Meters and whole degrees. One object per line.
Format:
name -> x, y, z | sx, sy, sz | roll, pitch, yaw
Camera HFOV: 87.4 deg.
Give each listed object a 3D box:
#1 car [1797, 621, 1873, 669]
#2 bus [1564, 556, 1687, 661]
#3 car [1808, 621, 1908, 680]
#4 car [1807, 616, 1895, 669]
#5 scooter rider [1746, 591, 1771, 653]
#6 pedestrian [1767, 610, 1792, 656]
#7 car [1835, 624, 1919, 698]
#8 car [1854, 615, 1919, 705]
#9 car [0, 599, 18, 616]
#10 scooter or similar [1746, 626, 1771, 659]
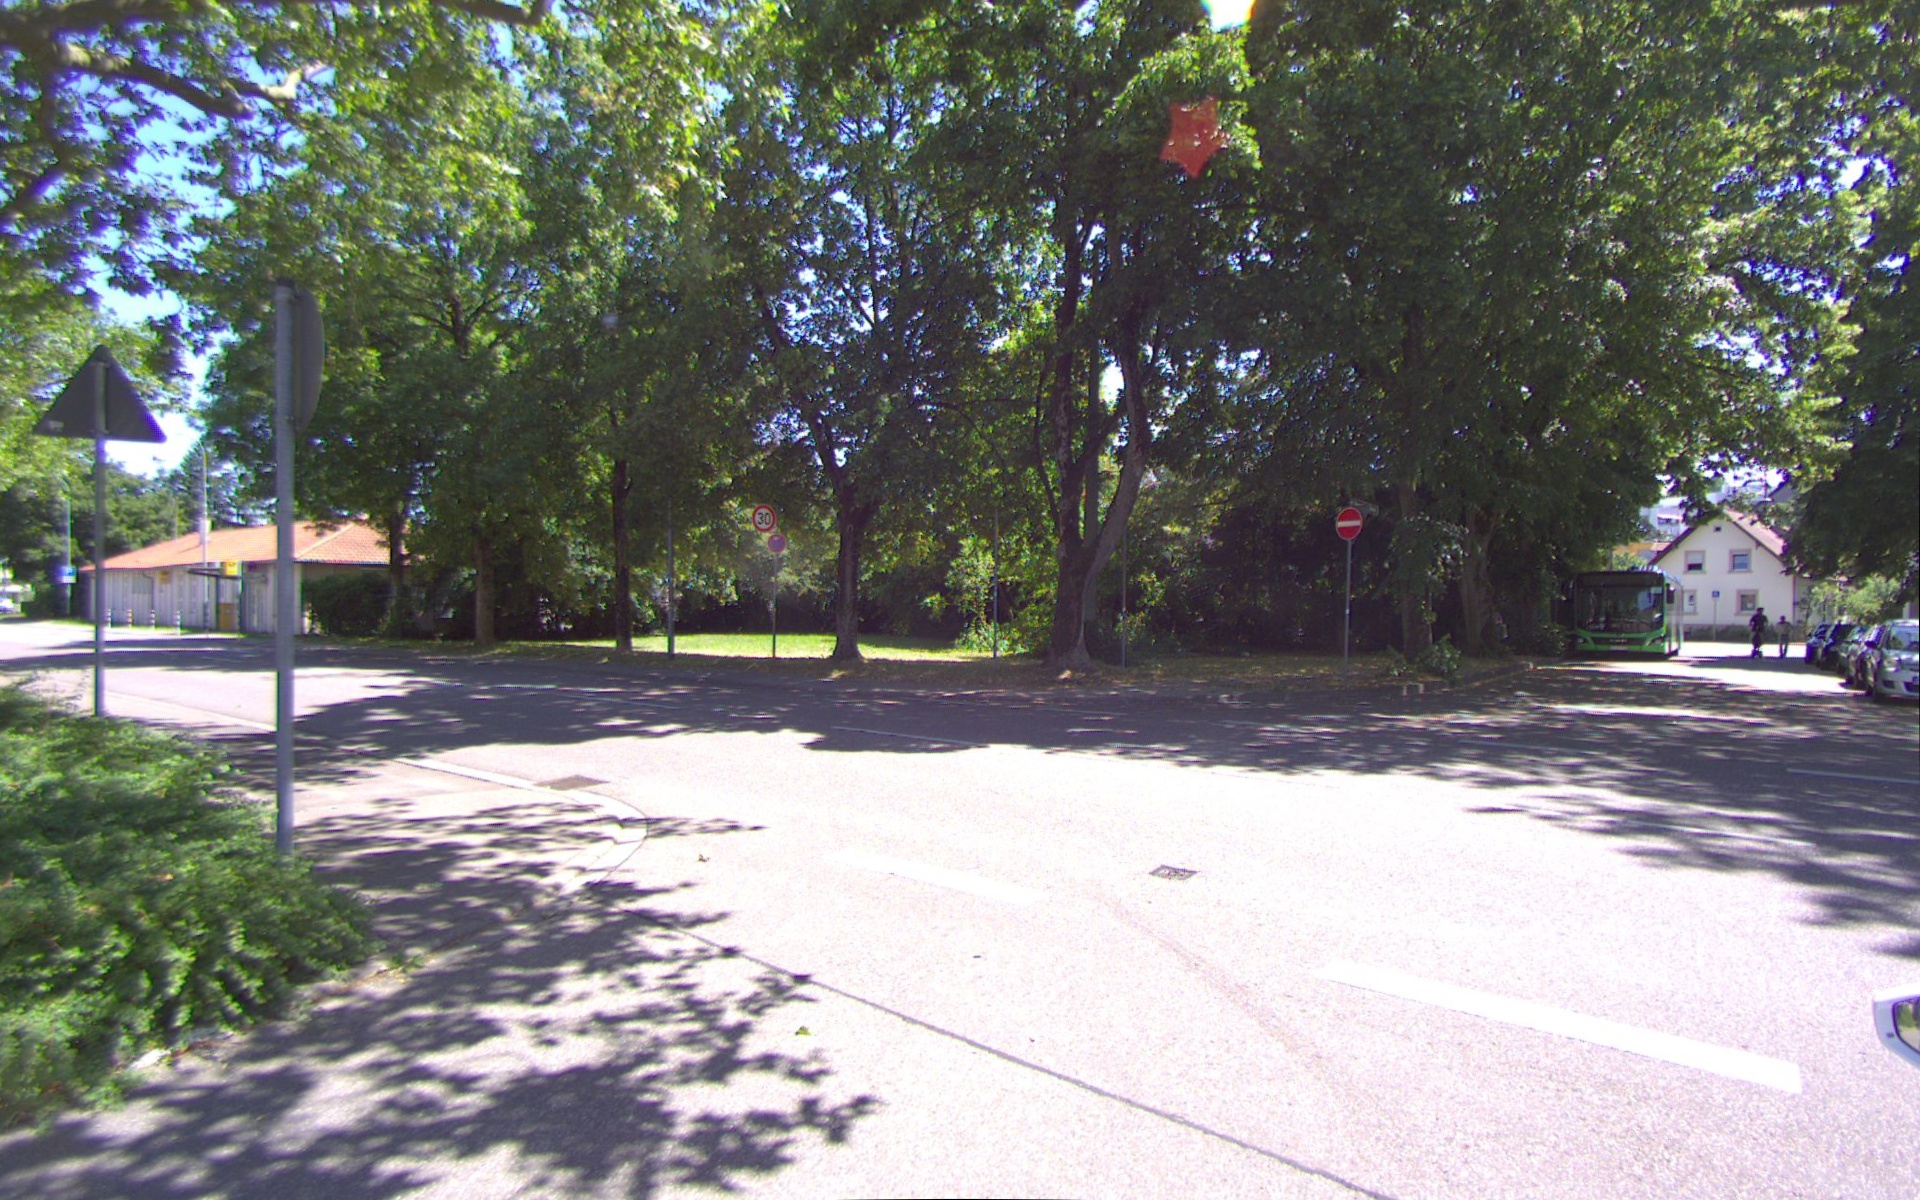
car -> 30.437, 1.530, 35.042 | 1.732, 1.513, 3.902 | 1, 0, 37
bus -> 26.108, 0.361, 38.910 | 2.832, 3.339, 15.886 | 1, 0, 38
car -> 25.001, 1.334, 28.102 | 1.728, 1.458, 4.750 | 0, 0, 38
car -> 28.045, 1.293, 31.728 | 1.732, 1.513, 4.358 | 1, 0, 37
scooter rider -> 30.562, 0.829, 38.440 | 0.729, 2.348, 0.923 | 0, 0, 39
pedestrian -> 33.131, 1.306, 40.587 | 0.712, 1.826, 0.935 | 0, 0, 44
car -> 21.127, 1.322, 22.689 | 1.728, 1.458, 4.484 | 2, 1, 38
car -> 17.740, 1.068, 18.524 | 1.575, 1.517, 3.471 | 2, 1, 38
car -> -102.820, 0.767, 107.763 | 3.936, 1.798, 1.892 | 0, 0, 37
scooter or similar -> 30.547, 1.606, 38.435 | 0.729, 1.199, 1.512 | 0, 0, 39
